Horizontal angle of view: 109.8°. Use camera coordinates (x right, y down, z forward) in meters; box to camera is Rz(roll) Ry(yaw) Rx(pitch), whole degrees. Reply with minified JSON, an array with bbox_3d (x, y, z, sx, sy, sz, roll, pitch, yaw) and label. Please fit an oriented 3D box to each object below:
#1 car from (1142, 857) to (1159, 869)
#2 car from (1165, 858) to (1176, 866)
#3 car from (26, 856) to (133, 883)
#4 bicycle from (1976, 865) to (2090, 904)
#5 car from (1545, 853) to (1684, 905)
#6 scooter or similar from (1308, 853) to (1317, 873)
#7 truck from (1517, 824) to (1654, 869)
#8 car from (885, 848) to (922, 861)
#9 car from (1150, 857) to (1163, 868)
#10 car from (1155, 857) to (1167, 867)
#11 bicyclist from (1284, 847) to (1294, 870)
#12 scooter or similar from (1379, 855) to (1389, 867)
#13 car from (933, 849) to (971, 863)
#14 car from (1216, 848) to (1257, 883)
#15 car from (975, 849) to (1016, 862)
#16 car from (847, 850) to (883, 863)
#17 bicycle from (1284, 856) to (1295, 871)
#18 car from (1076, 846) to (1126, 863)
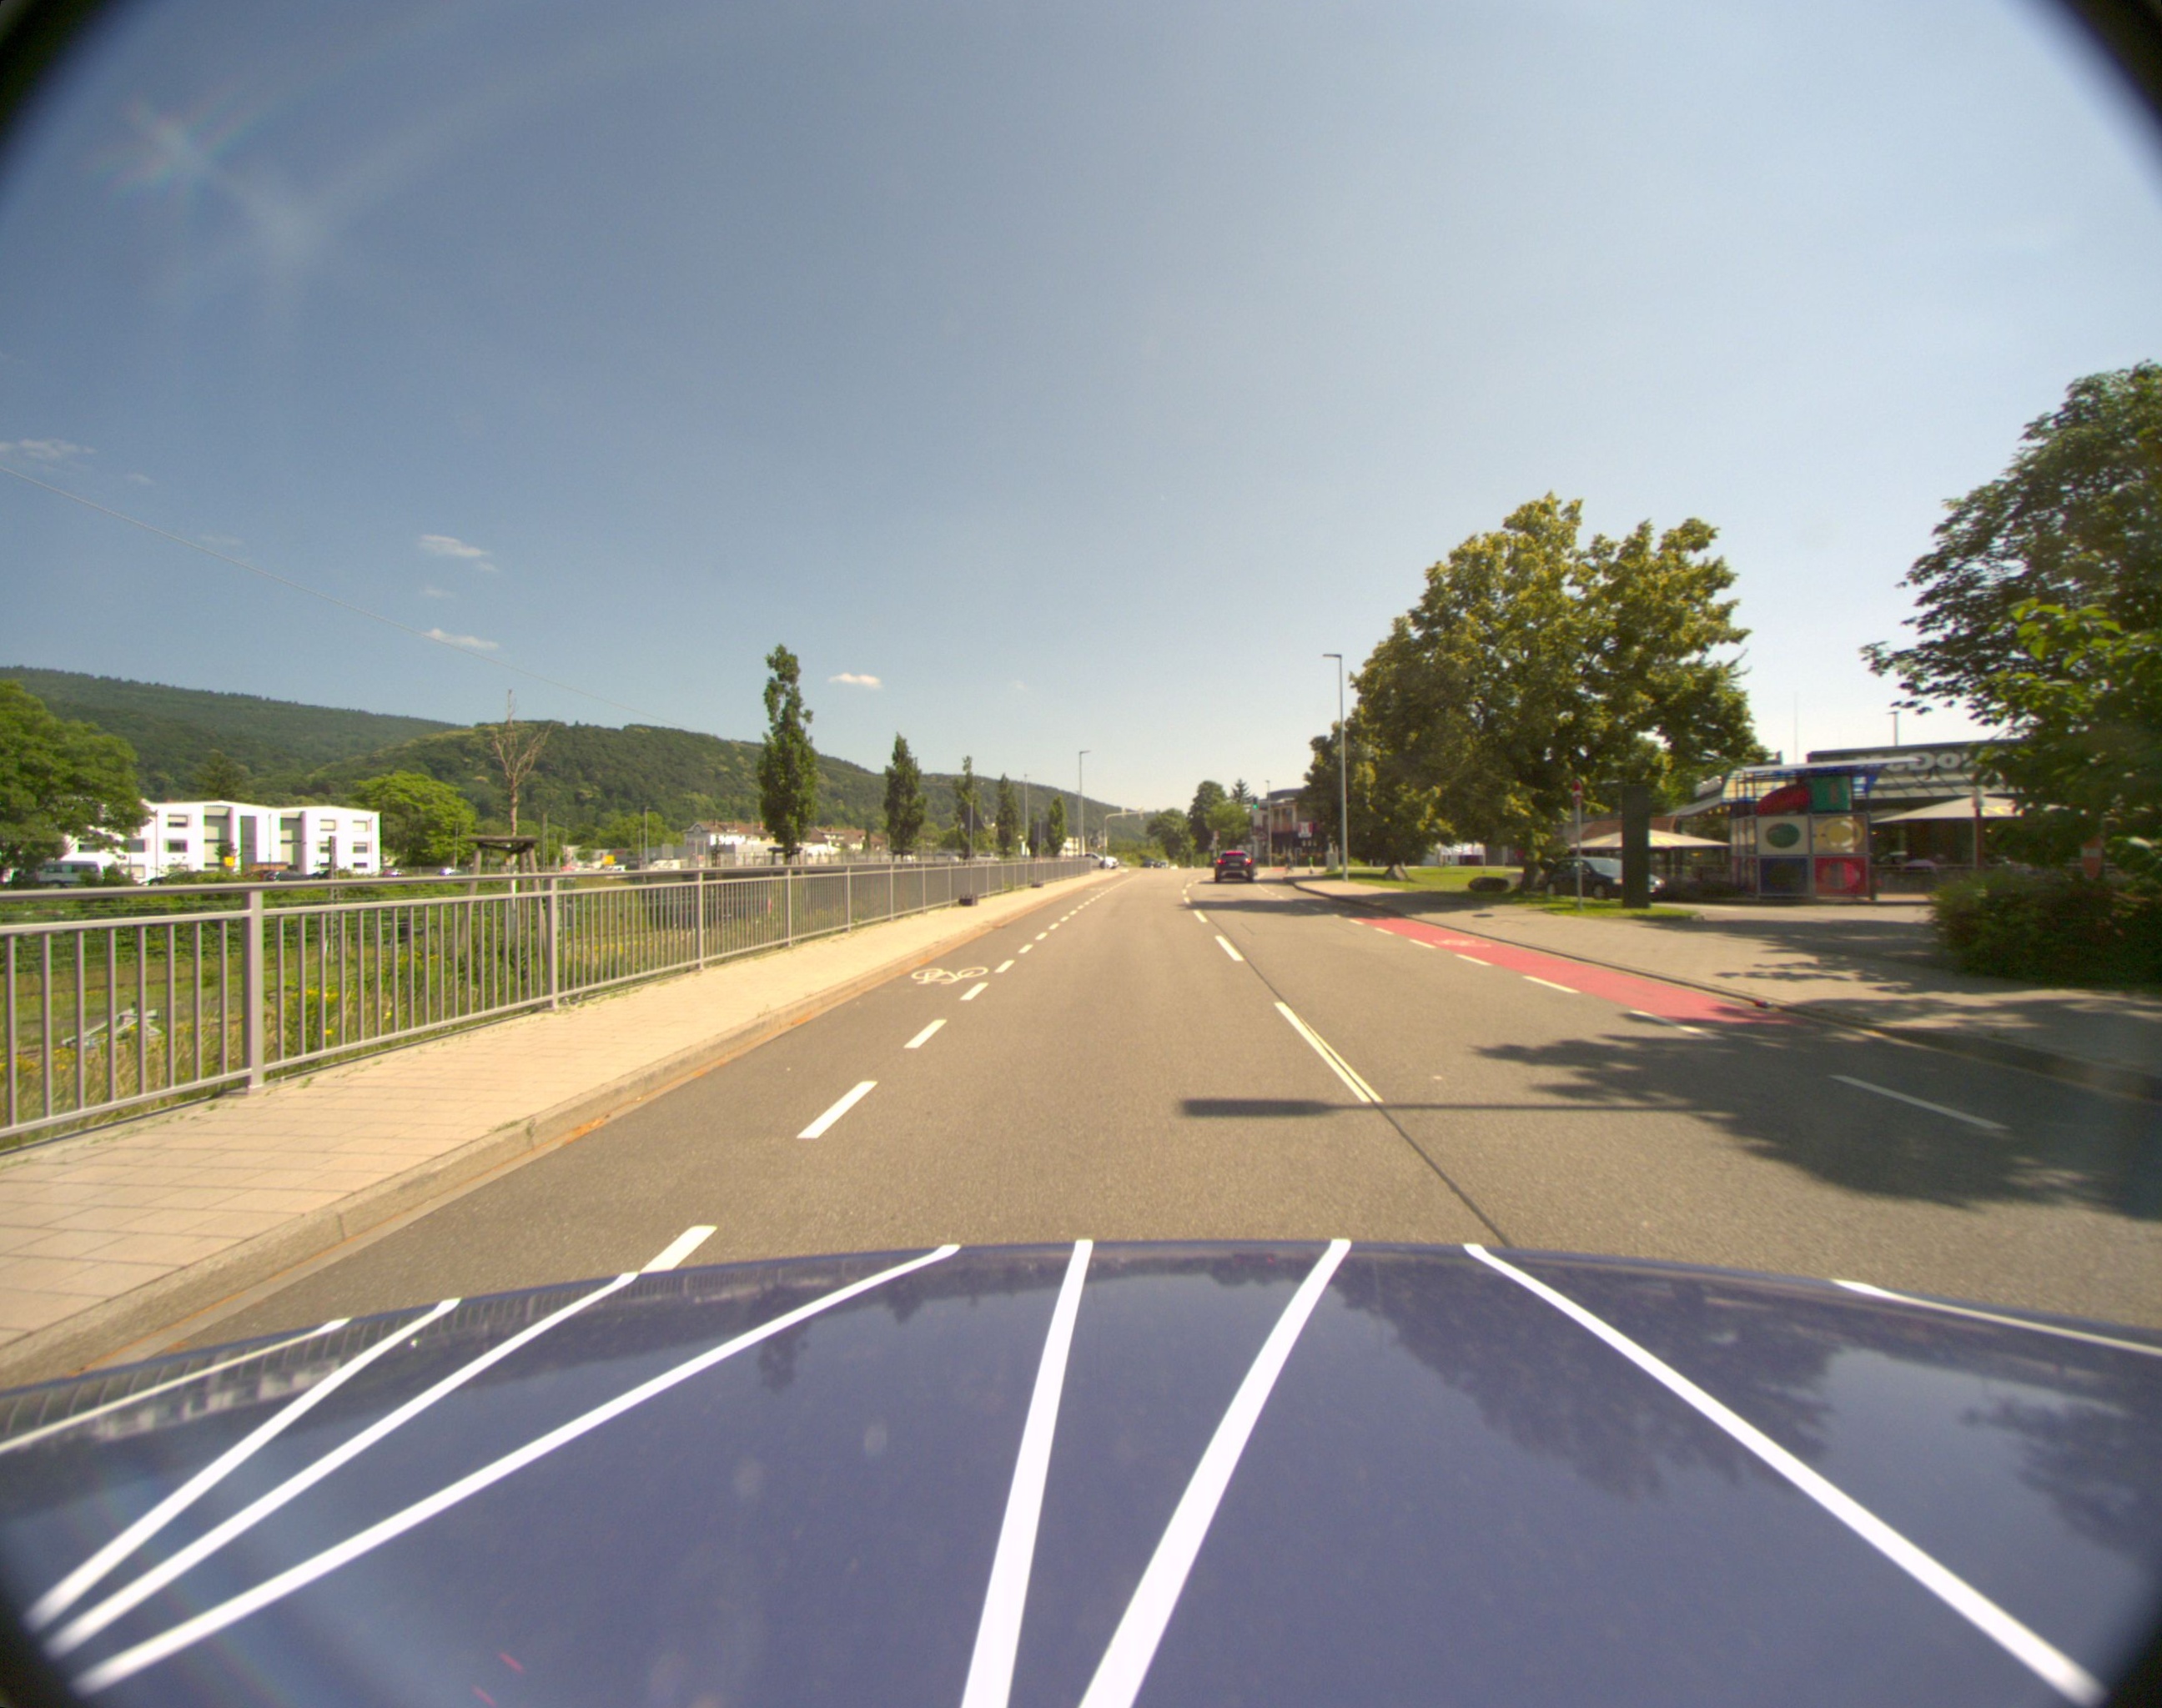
[{"bbox_3d":[9.842,1.263,106.985,1.828,1.618,4.241,0,0,12],"label":"car"},{"bbox_3d":[14.943,1.269,126.922,1.671,1.309,4.003,0,0,9],"label":"car"},{"bbox_3d":[-83.433,1.240,63.405,1.997,2.100,4.996,0,0,12],"label":"car"},{"bbox_3d":[24.750,0.773,19.796,1.853,0.986,0.309,0,0,33],"label":"bicycle"},{"bbox_3d":[17.073,0.738,24.602,1.863,1.543,4.190,0,0,6],"label":"car"},{"bbox_3d":[14.372,0.551,47.065,0.472,1.177,1.367,0,0,19],"label":"scooter or similar"},{"bbox_3d":[41.114,-0.538,62.387,9.143,3.366,3.321,-1,0,30],"label":"truck"},{"bbox_3d":[-22.380,0.031,95.898,4.430,1.617,1.740,1,1,26],"label":"car"},{"bbox_3d":[11.103,1.264,111.932,1.671,1.524,4.003,0,0,9],"label":"car"},{"bbox_3d":[12.270,1.266,116.693,1.671,1.524,4.003,0,0,9],"label":"car"},{"bbox_3d":[15.747,0.336,57.529,0.711,1.778,0.810,0,0,20],"label":"bicyclist"},{"bbox_3d":[30.635,0.704,76.925,0.499,1.117,1.507,0,0,40],"label":"scooter or similar"},{"bbox_3d":[-15.681,0.260,92.343,4.430,1.617,1.740,1,1,26],"label":"car"},{"bbox_3d":[7.960,0.572,39.040,1.953,1.685,4.617,0,0,11],"label":"car"},{"bbox_3d":[-9.979,0.207,88.723,4.398,1.461,1.740,1,1,26],"label":"car"},{"bbox_3d":[-28.099,0.274,98.766,4.431,1.617,1.740,-1,0,25],"label":"car"},{"bbox_3d":[15.801,0.710,57.579,0.697,1.098,1.758,1,1,20],"label":"bicycle"},{"bbox_3d":[2.000,0.074,76.725,4.620,1.709,2.004,0,0,32],"label":"car"}]
